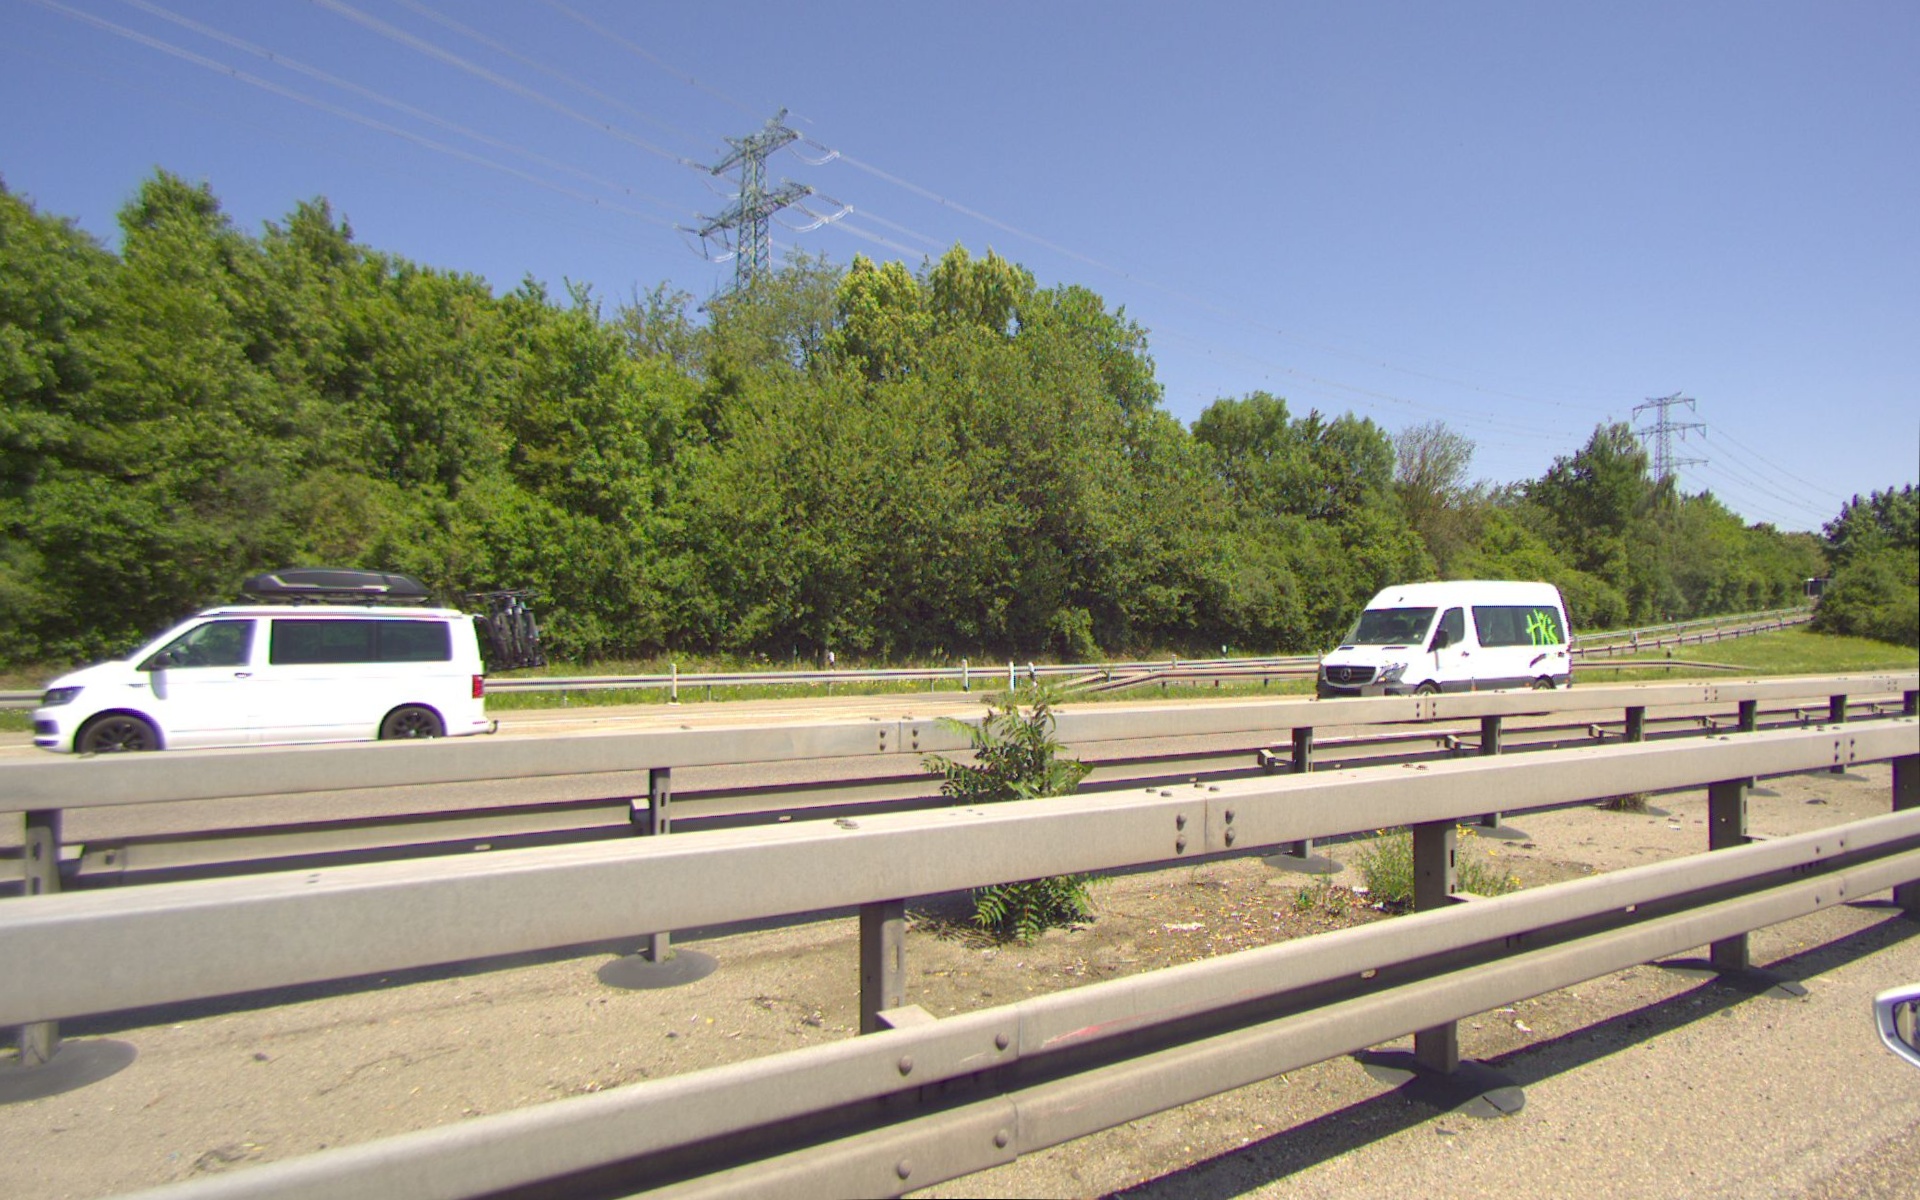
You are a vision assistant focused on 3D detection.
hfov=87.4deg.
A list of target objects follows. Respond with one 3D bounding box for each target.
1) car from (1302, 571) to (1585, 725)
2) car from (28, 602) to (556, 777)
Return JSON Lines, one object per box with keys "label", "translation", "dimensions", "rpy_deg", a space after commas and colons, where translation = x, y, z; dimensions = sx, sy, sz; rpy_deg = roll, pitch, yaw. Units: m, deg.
{"label": "car", "translation": [9.510, 0.932, 19.584], "dimensions": [5.822, 2.627, 2.145], "rpy_deg": [2, -2, -31]}
{"label": "car", "translation": [-8.405, 1.107, 13.311], "dimensions": [5.430, 1.929, 1.855], "rpy_deg": [2, -3, -31]}
